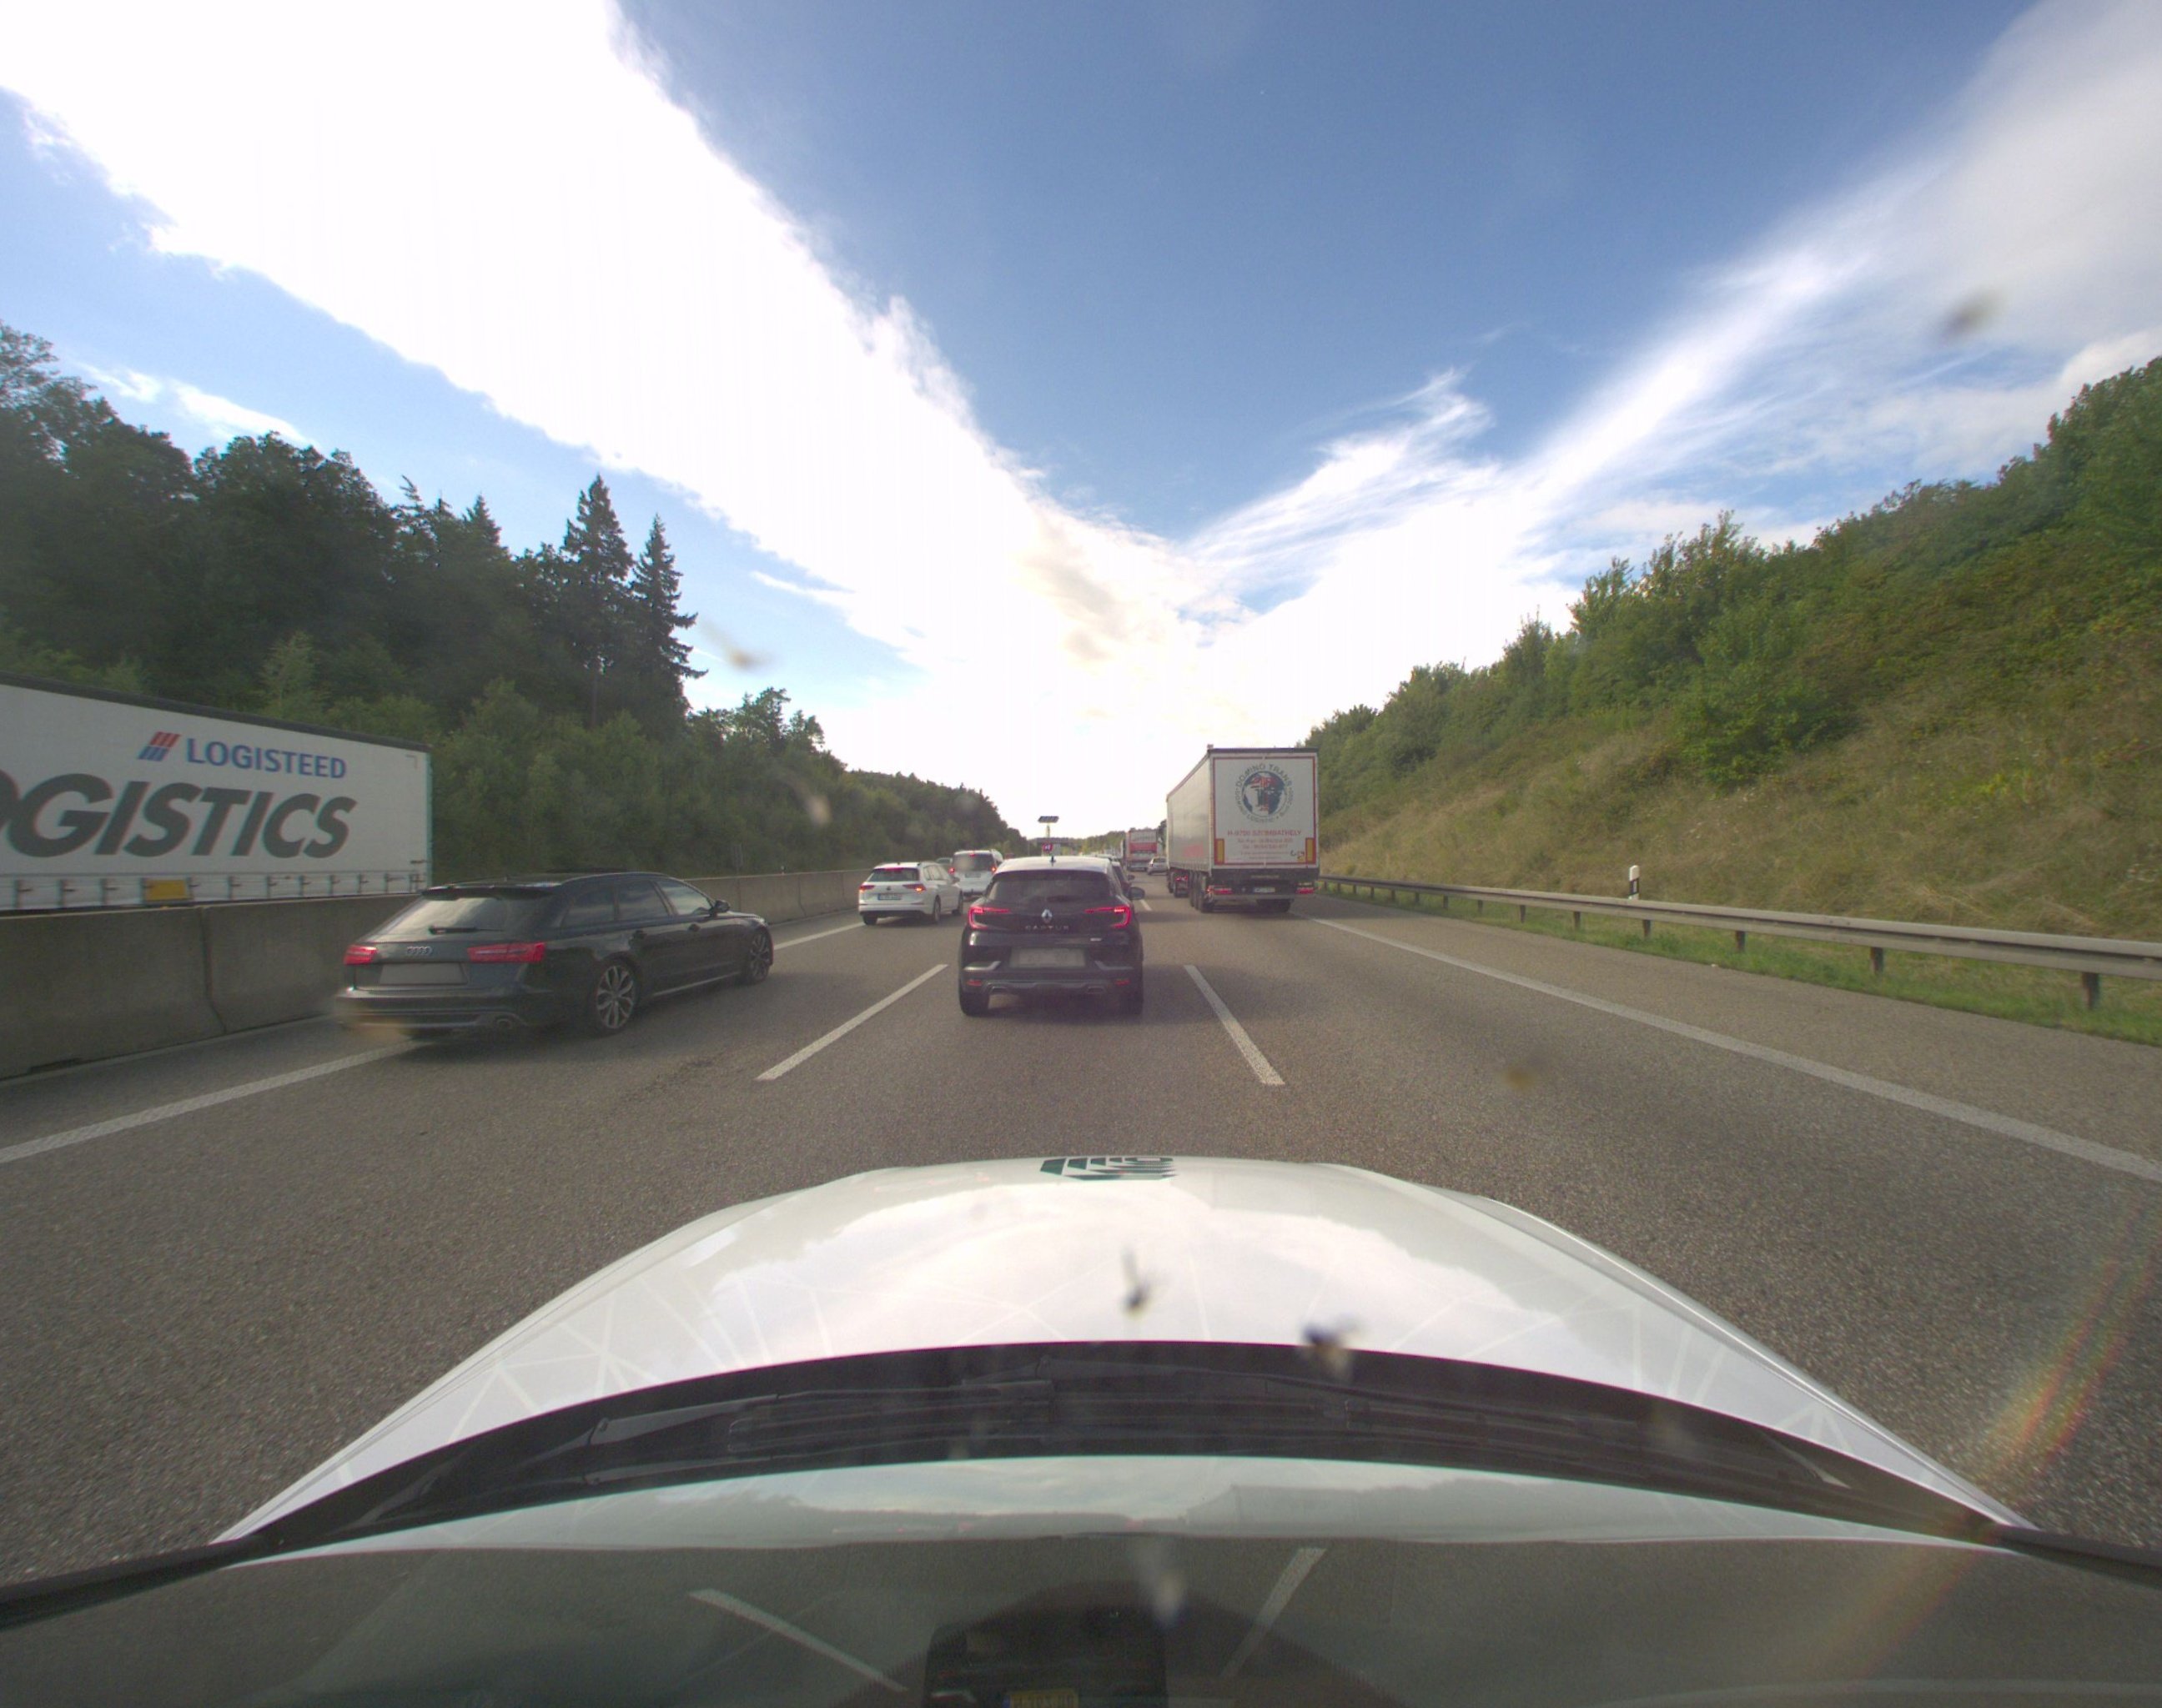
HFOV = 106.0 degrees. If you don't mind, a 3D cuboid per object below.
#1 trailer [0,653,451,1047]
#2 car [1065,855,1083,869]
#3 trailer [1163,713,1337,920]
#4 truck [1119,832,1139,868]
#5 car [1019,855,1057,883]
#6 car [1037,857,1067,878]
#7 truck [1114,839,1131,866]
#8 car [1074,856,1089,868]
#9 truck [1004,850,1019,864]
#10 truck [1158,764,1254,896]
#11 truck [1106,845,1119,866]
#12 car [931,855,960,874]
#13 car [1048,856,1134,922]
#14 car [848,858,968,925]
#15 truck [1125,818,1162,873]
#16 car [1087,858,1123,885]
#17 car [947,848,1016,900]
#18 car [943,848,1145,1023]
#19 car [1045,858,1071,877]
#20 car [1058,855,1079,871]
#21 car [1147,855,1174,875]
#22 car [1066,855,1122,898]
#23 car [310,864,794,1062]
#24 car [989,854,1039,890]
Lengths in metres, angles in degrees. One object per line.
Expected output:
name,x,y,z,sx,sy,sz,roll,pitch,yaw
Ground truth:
trailer,-15.453,-0.038,10.797,3.077,5.074,13.839,0,-1,2
car,-0.877,0.984,102.668,1.985,1.613,4.003,-1,0,3
trailer,4.490,-0.838,25.059,2.990,4.661,13.296,-1,0,2
truck,7.713,-0.494,131.277,3.153,5.505,12.746,0,-1,3
car,-2.674,0.936,51.722,1.985,1.722,4.002,0,-1,3
car,-2.248,1.075,64.068,1.985,1.613,4.002,0,-1,3
truck,8.880,-0.184,172.908,3.152,5.505,12.752,0,-1,4
car,0.050,1.121,115.893,1.985,1.613,4.003,-1,0,3
truck,-14.395,0.619,168.553,2.413,2.855,6.433,0,0,2
truck,4.738,-0.849,32.037,2.986,4.667,5.942,-1,0,2
truck,8.052,0.442,205.825,3.153,5.159,12.746,0,-1,3
car,-13.257,1.000,79.922,1.845,1.810,4.626,0,0,2
car,0.324,0.835,20.741,1.985,1.514,4.002,0,-1,3
car,-4.120,0.853,20.138,1.797,1.461,4.312,-1,-1,3
truck,6.115,-0.748,81.745,3.351,5.044,12.746,0,-1,3
car,1.435,1.007,47.725,1.985,1.514,4.002,0,-1,3
car,-3.623,0.730,30.431,1.905,1.789,4.418,0,-1,1
car,-0.182,0.748,9.330,1.796,1.552,4.005,-1,0,4
car,-1.978,1.160,71.624,1.985,1.613,4.002,0,-1,3
car,-1.319,0.961,86.004,1.985,1.613,4.003,-1,0,3
car,6.251,0.883,64.460,1.798,1.533,3.926,0,-1,1
car,0.550,0.817,30.636,1.985,1.514,4.002,0,-1,3
car,-4.880,0.864,8.586,1.835,1.456,4.751,0,0,3
car,-3.193,0.869,39.388,1.848,1.641,3.928,0,-1,3
